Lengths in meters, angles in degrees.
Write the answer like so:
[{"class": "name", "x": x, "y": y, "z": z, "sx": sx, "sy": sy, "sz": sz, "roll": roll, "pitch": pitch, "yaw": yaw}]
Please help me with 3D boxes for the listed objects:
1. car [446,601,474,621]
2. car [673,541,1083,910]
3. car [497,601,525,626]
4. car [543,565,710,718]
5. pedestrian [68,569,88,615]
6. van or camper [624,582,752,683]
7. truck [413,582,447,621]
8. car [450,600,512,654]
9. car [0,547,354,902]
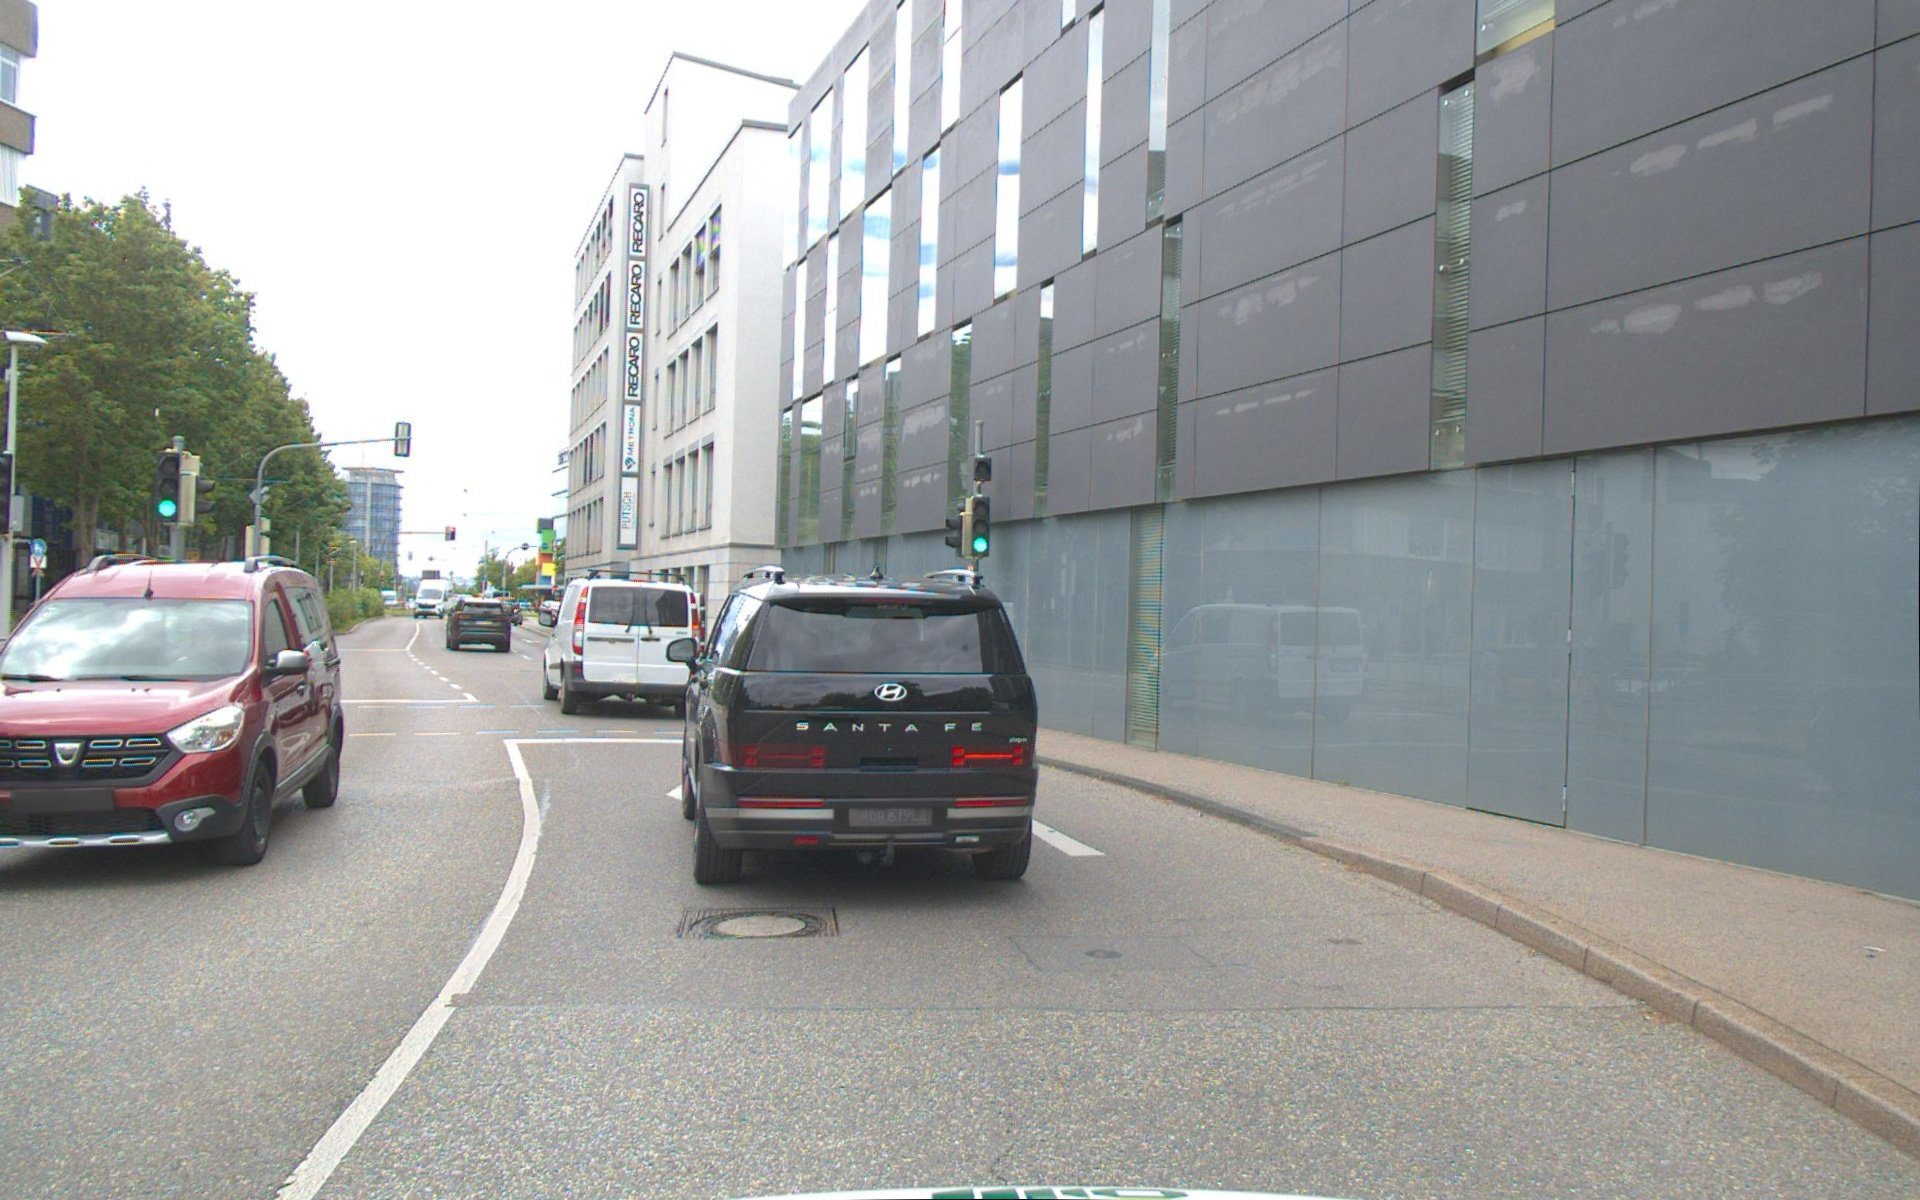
[{"class": "car", "x": -52.479, "y": 1.152, "z": 173.568, "sx": 1.652, "sy": 1.915, "sz": 3.952, "roll": 2, "pitch": -1, "yaw": -34}, {"class": "car", "x": -0.750, "y": 0.643, "z": 10.321, "sx": 1.875, "sy": 1.780, "sz": 4.384, "roll": 2, "pitch": -1, "yaw": -12}, {"class": "car", "x": -30.747, "y": 0.893, "z": 113.269, "sx": 1.730, "sy": 1.637, "sz": 4.170, "roll": 2, "pitch": -1, "yaw": -15}, {"class": "car", "x": -5.051, "y": 0.578, "z": 24.577, "sx": 1.902, "sy": 2.029, "sz": 4.512, "roll": 2, "pitch": -1, "yaw": -18}, {"class": "pedestrian", "x": -39.768, "y": -0.338, "z": 74.575, "sx": 0.670, "sy": 2.049, "sz": 0.568, "roll": 1, "pitch": -1, "yaw": -19}, {"class": "van or camper", "x": -5.850, "y": 0.661, "z": 35.167, "sx": 1.963, "sy": 1.949, "sz": 4.309, "roll": 3, "pitch": -1, "yaw": -18}, {"class": "truck", "x": -38.169, "y": 0.126, "z": 119.102, "sx": 2.133, "sy": 2.661, "sz": 5.764, "roll": 2, "pitch": -1, "yaw": -19}, {"class": "car", "x": -15.295, "y": 0.843, "z": 52.970, "sx": 1.730, "sy": 1.637, "sz": 4.172, "roll": 2, "pitch": -1, "yaw": -14}, {"class": "car", "x": -5.094, "y": 0.656, "z": 10.774, "sx": 1.652, "sy": 1.840, "sz": 4.336, "roll": 0, "pitch": 0, "yaw": -14}]
